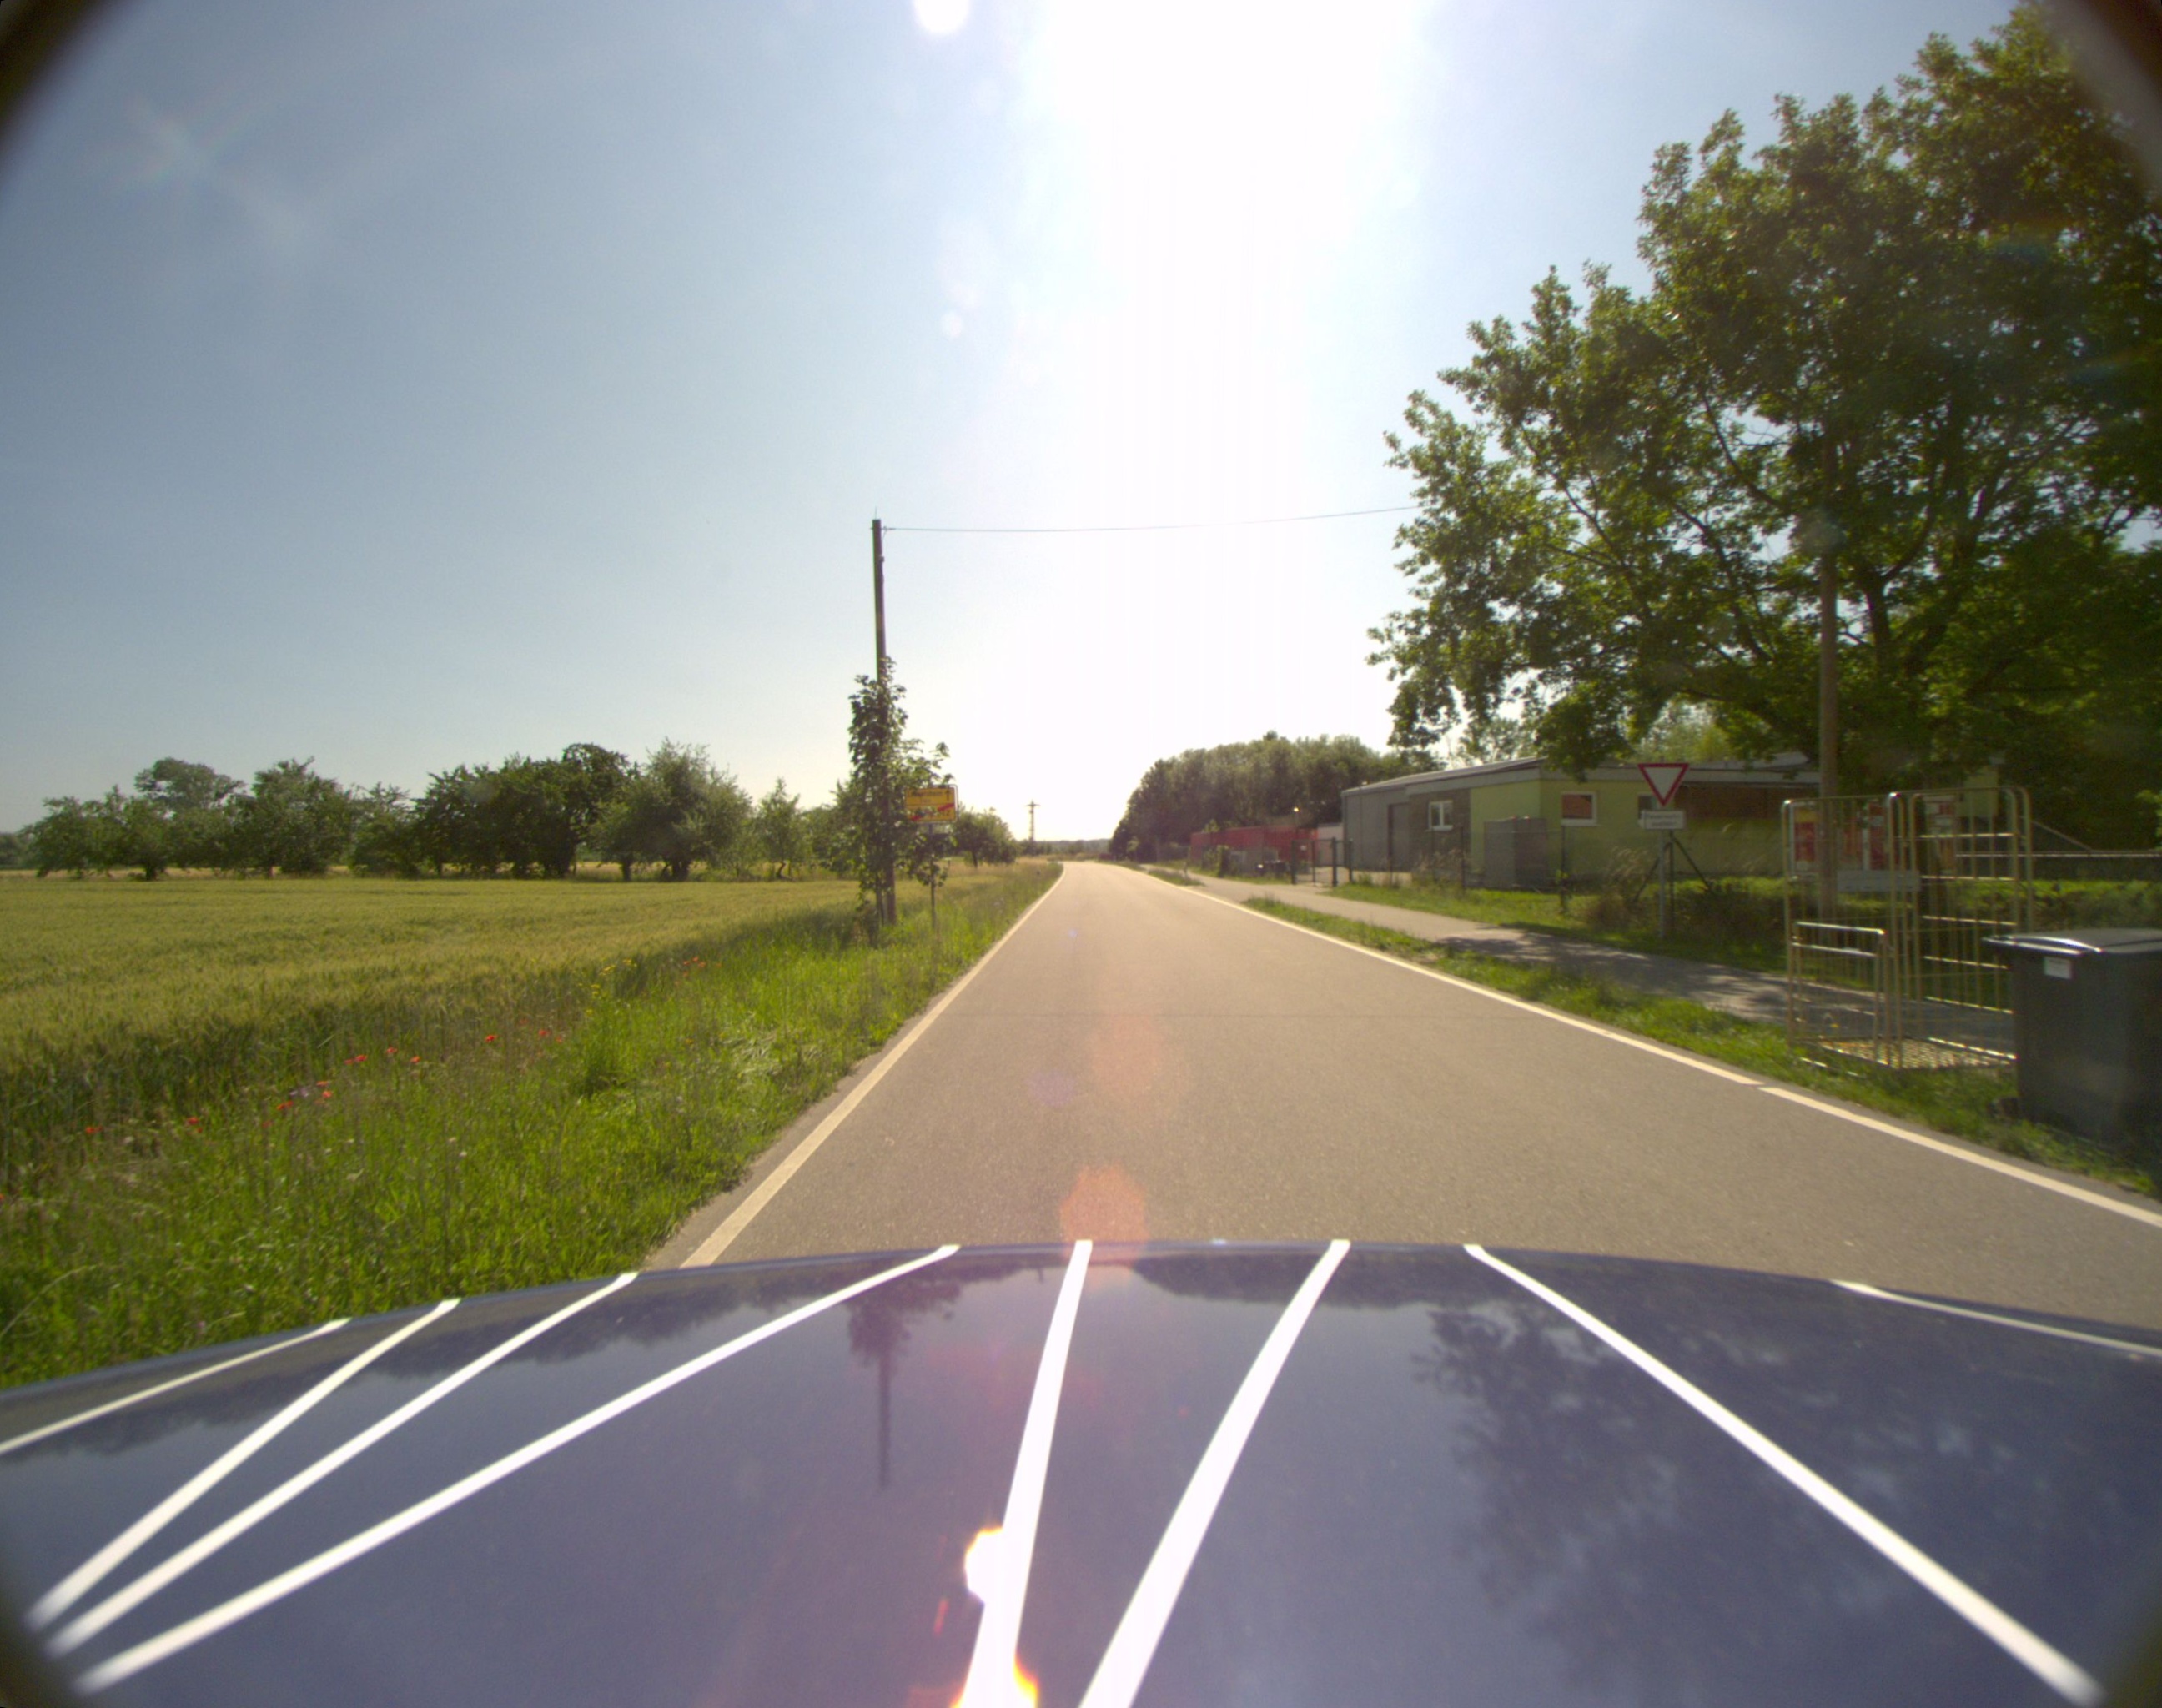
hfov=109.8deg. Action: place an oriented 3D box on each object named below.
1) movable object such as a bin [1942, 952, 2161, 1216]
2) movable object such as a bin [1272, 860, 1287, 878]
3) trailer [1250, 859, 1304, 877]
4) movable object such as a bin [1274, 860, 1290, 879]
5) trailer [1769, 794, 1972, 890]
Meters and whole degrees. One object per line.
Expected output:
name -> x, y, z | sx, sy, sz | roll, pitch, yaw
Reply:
movable object such as a bin -> 4.806, 1.024, 3.558 | 0.700, 1.018, 0.748 | 0, 1, 8
movable object such as a bin -> 9.549, 0.718, 36.572 | 0.640, 0.871, 0.654 | 0, 1, 6
trailer -> 10.104, 0.724, 39.354 | 1.636, 0.861, 3.356 | 0, 0, -6
movable object such as a bin -> 9.470, 0.735, 35.851 | 0.640, 0.849, 0.654 | 0, 1, 6
trailer -> 20.168, -0.300, 19.458 | 4.240, 2.264, 1.826 | 0, 1, -16
